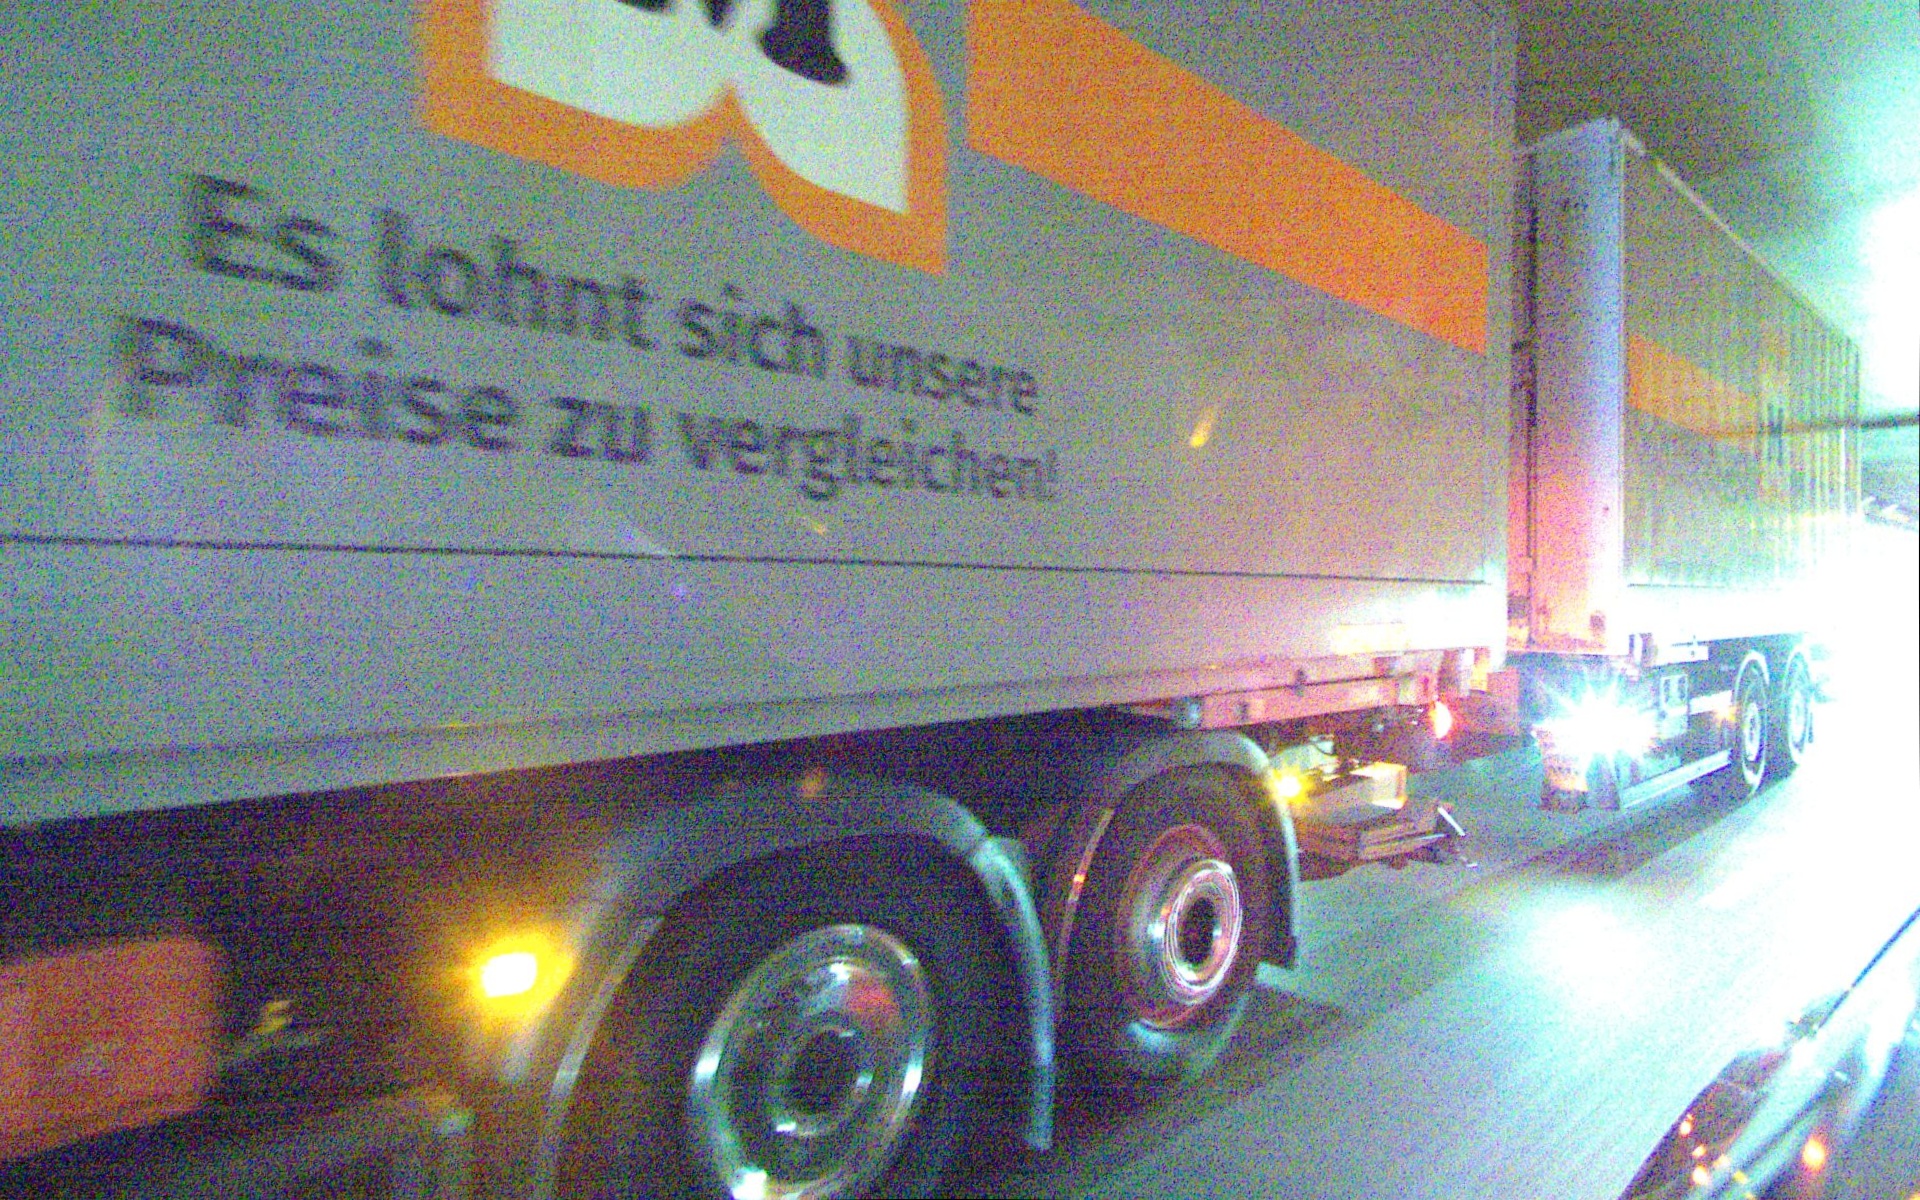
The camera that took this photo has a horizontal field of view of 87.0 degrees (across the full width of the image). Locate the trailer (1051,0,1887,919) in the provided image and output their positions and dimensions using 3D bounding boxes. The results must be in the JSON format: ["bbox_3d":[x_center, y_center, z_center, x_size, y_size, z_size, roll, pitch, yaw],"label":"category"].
[{"bbox_3d":[4.820,-0.648,8.133,8.791,3.908,2.880,0,-1,-41],"label":"trailer"}]

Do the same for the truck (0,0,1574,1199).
[{"bbox_3d":[-2.057,-0.631,2.036,9.738,3.964,2.892,0,-1,-42],"label":"truck"}]

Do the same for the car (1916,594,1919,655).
[{"bbox_3d":[24.200,0.535,24.113,3.733,1.421,1.733,-1,-1,-42],"label":"car"}]
